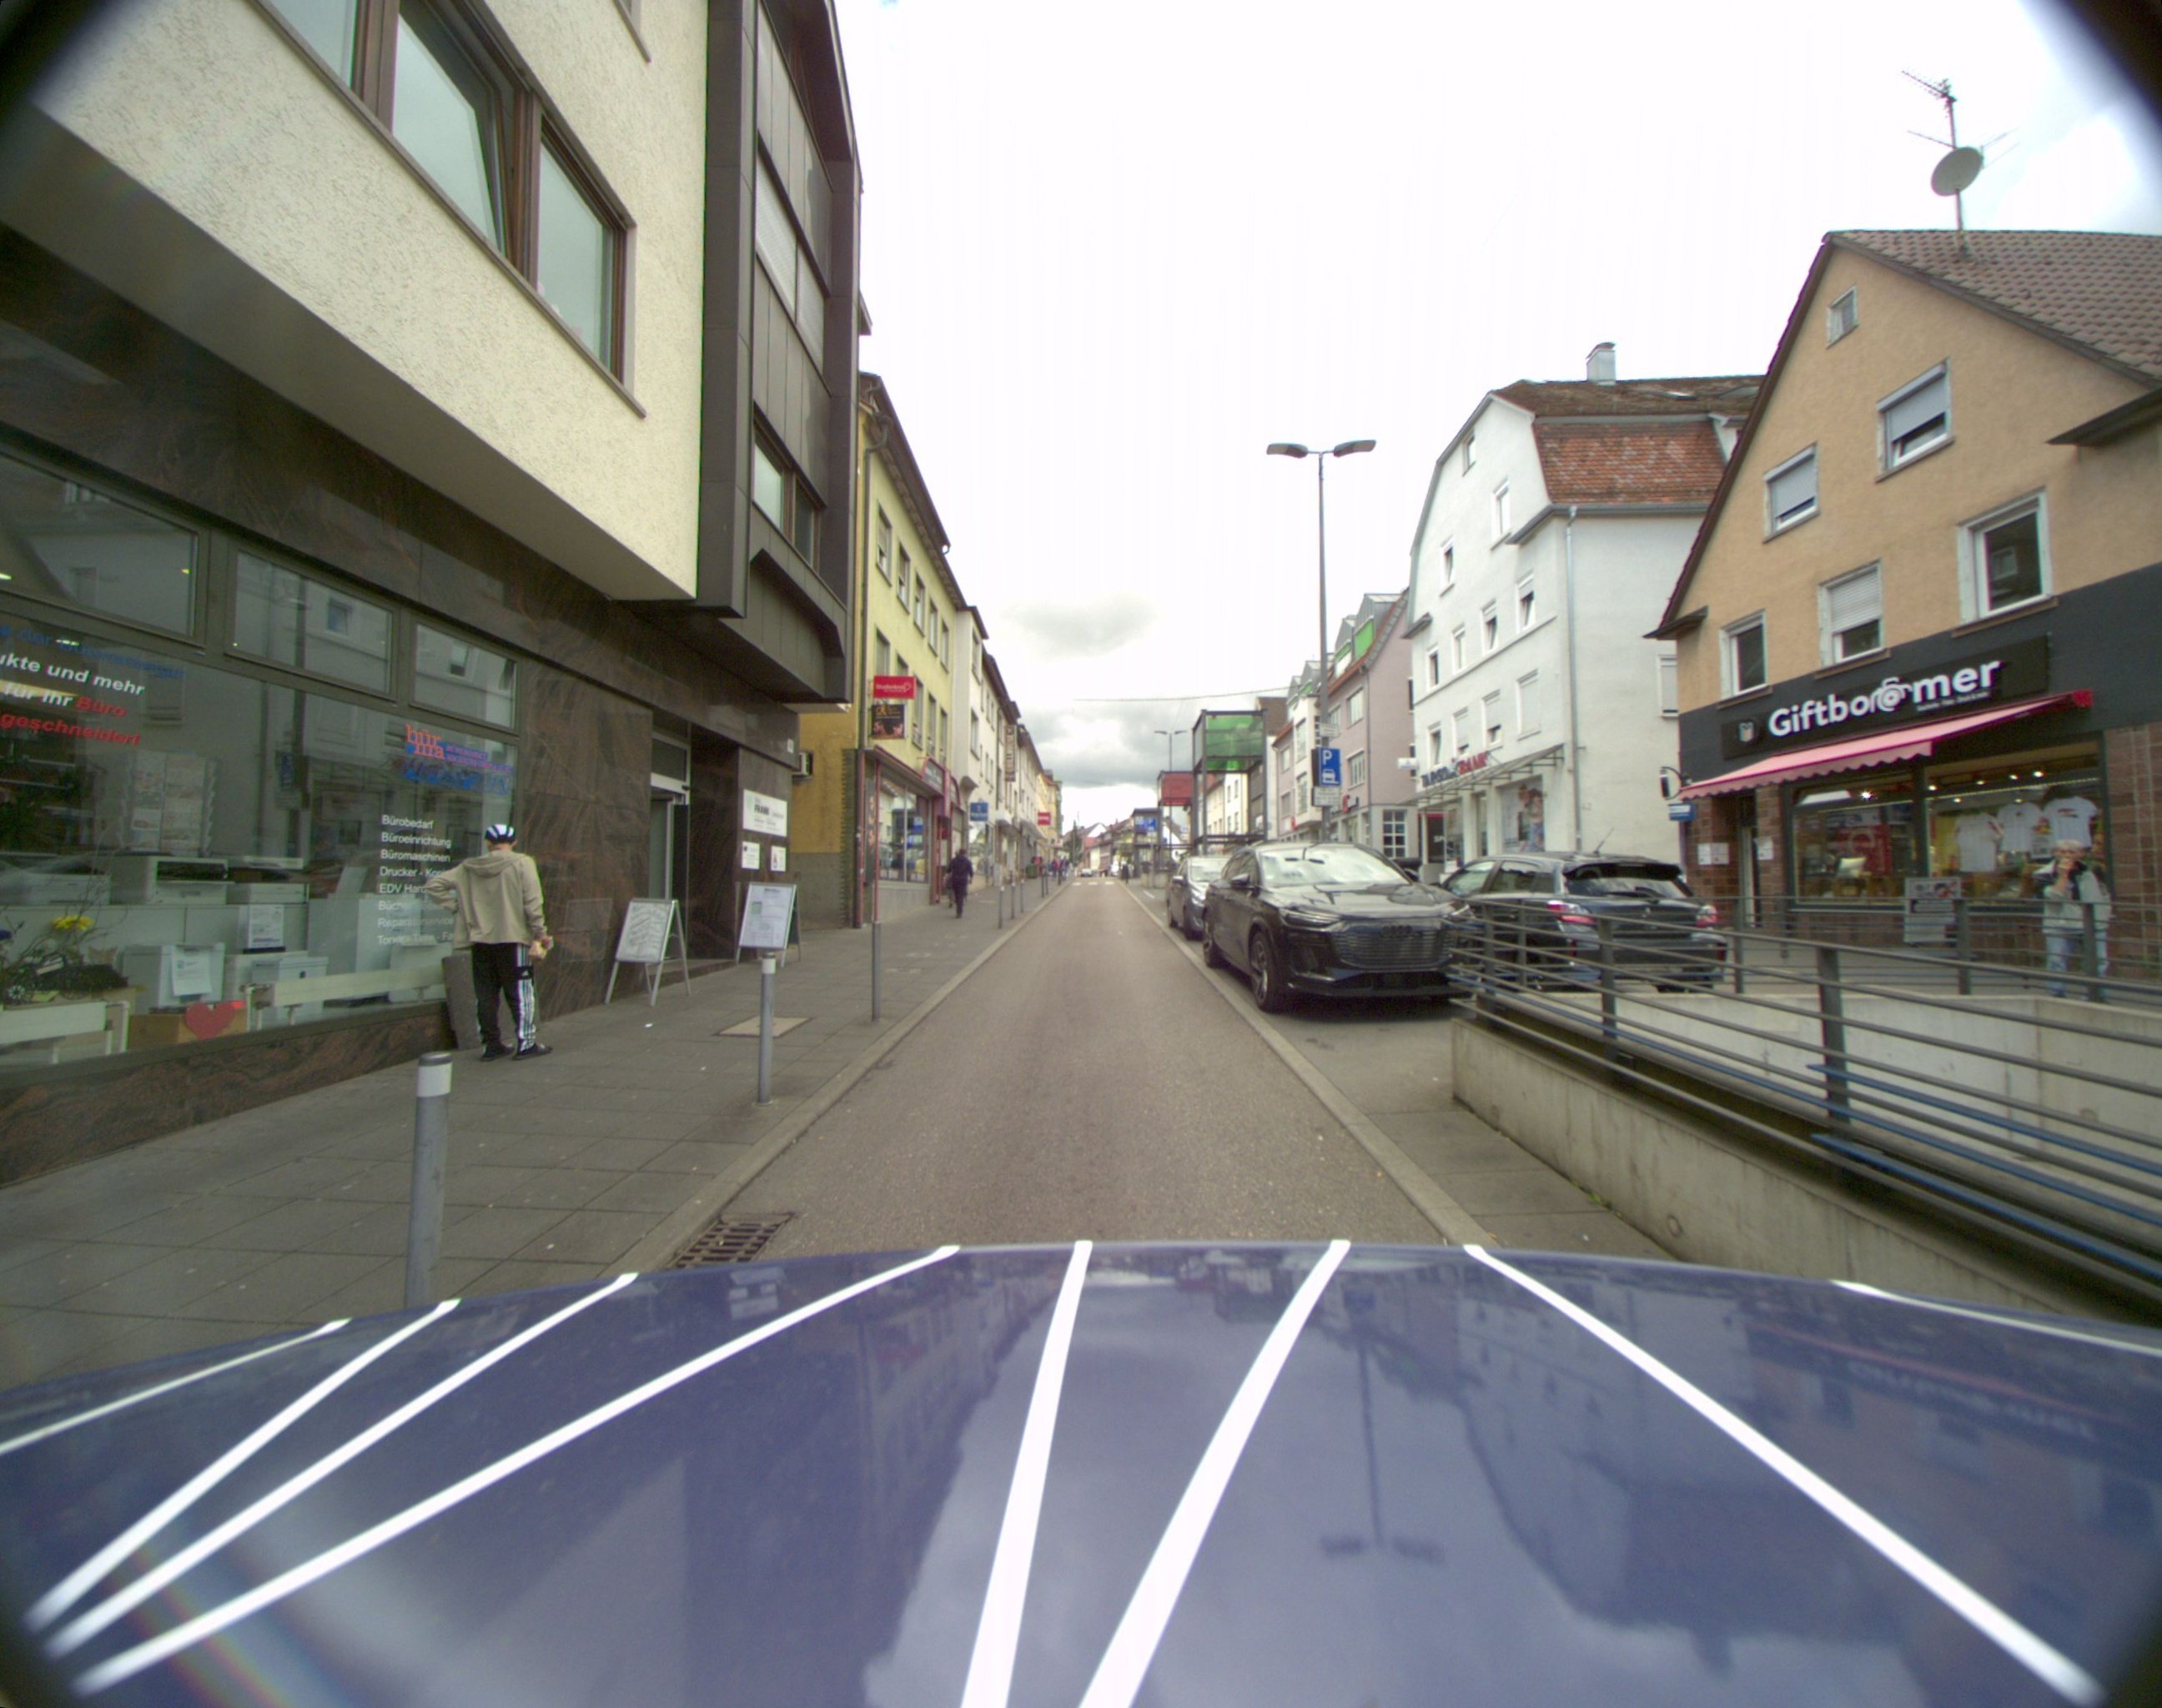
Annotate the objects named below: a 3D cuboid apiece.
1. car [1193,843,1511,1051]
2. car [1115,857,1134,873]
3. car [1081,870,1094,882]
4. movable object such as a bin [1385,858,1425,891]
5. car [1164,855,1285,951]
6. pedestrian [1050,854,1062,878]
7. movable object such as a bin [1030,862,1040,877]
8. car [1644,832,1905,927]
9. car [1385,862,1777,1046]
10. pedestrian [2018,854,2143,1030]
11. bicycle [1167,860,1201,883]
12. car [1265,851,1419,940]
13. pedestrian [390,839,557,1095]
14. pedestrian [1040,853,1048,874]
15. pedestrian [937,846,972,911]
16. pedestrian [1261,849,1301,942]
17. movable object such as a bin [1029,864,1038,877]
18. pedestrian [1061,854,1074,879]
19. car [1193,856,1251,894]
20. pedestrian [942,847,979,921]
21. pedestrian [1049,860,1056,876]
[{"bbox_3d":[2.518,0.752,8.324,1.961,1.630,4.314,-2,0,1],"label":"car"},{"bbox_3d":[4.255,1.097,74.330,1.754,1.452,3.601,-2,0,2],"label":"car"},{"bbox_3d":[0.888,3.073,107.071,1.741,1.608,3.843,-2,0,1],"label":"car"},{"bbox_3d":[14.000,0.870,32.863,1.286,1.368,1.067,-1,0,1],"label":"movable object such as a bin"},{"bbox_3d":[2.583,0.824,14.474,1.624,1.523,3.670,-2,0,1],"label":"car"},{"bbox_3d":[-1.721,0.841,52.564,0.740,1.660,0.627,2,0,-8],"label":"pedestrian"},{"bbox_3d":[-3.352,1.126,54.914,0.670,1.024,0.560,0,0,1],"label":"movable object such as a bin"},{"bbox_3d":[15.653,0.565,17.350,4.080,1.862,1.884,-3,0,3],"label":"car"},{"bbox_3d":[5.105,0.887,8.516,1.743,1.467,3.883,3,0,0],"label":"car"},{"bbox_3d":[10.091,0.841,7.701,0.644,1.679,0.668,0,0,41],"label":"pedestrian"},{"bbox_3d":[5.546,0.955,40.996,1.782,1.216,0.460,0,1,0],"label":"bicycle"},{"bbox_3d":[5.166,0.728,15.665,1.743,1.534,4.193,-2,0,1],"label":"car"},{"bbox_3d":[-4.219,0.756,5.317,0.665,1.679,0.543,3,0,-5],"label":"pedestrian"},{"bbox_3d":[-3.091,0.766,63.550,0.627,1.716,0.607,2,0,-4],"label":"pedestrian"},{"bbox_3d":[-3.567,0.681,21.479,0.713,1.743,0.785,4,0,1],"label":"pedestrian"},{"bbox_3d":[3.689,0.743,14.074,0.535,1.662,0.901,-1,0,4],"label":"pedestrian"},{"bbox_3d":[-3.386,1.178,54.311,0.568,0.951,0.498,0,0,1],"label":"movable object such as a bin"},{"bbox_3d":[-0.922,0.857,52.829,0.740,1.660,0.786,2,0,-8],"label":"pedestrian"},{"bbox_3d":[5.902,0.853,32.134,1.573,1.466,3.855,0,0,-2],"label":"car"},{"bbox_3d":[-2.917,0.716,18.399,0.713,1.743,0.787,1,1,1],"label":"pedestrian"},{"bbox_3d":[-2.887,1.410,76.978,0.627,1.620,0.607,-2,1,-4],"label":"pedestrian"}]
